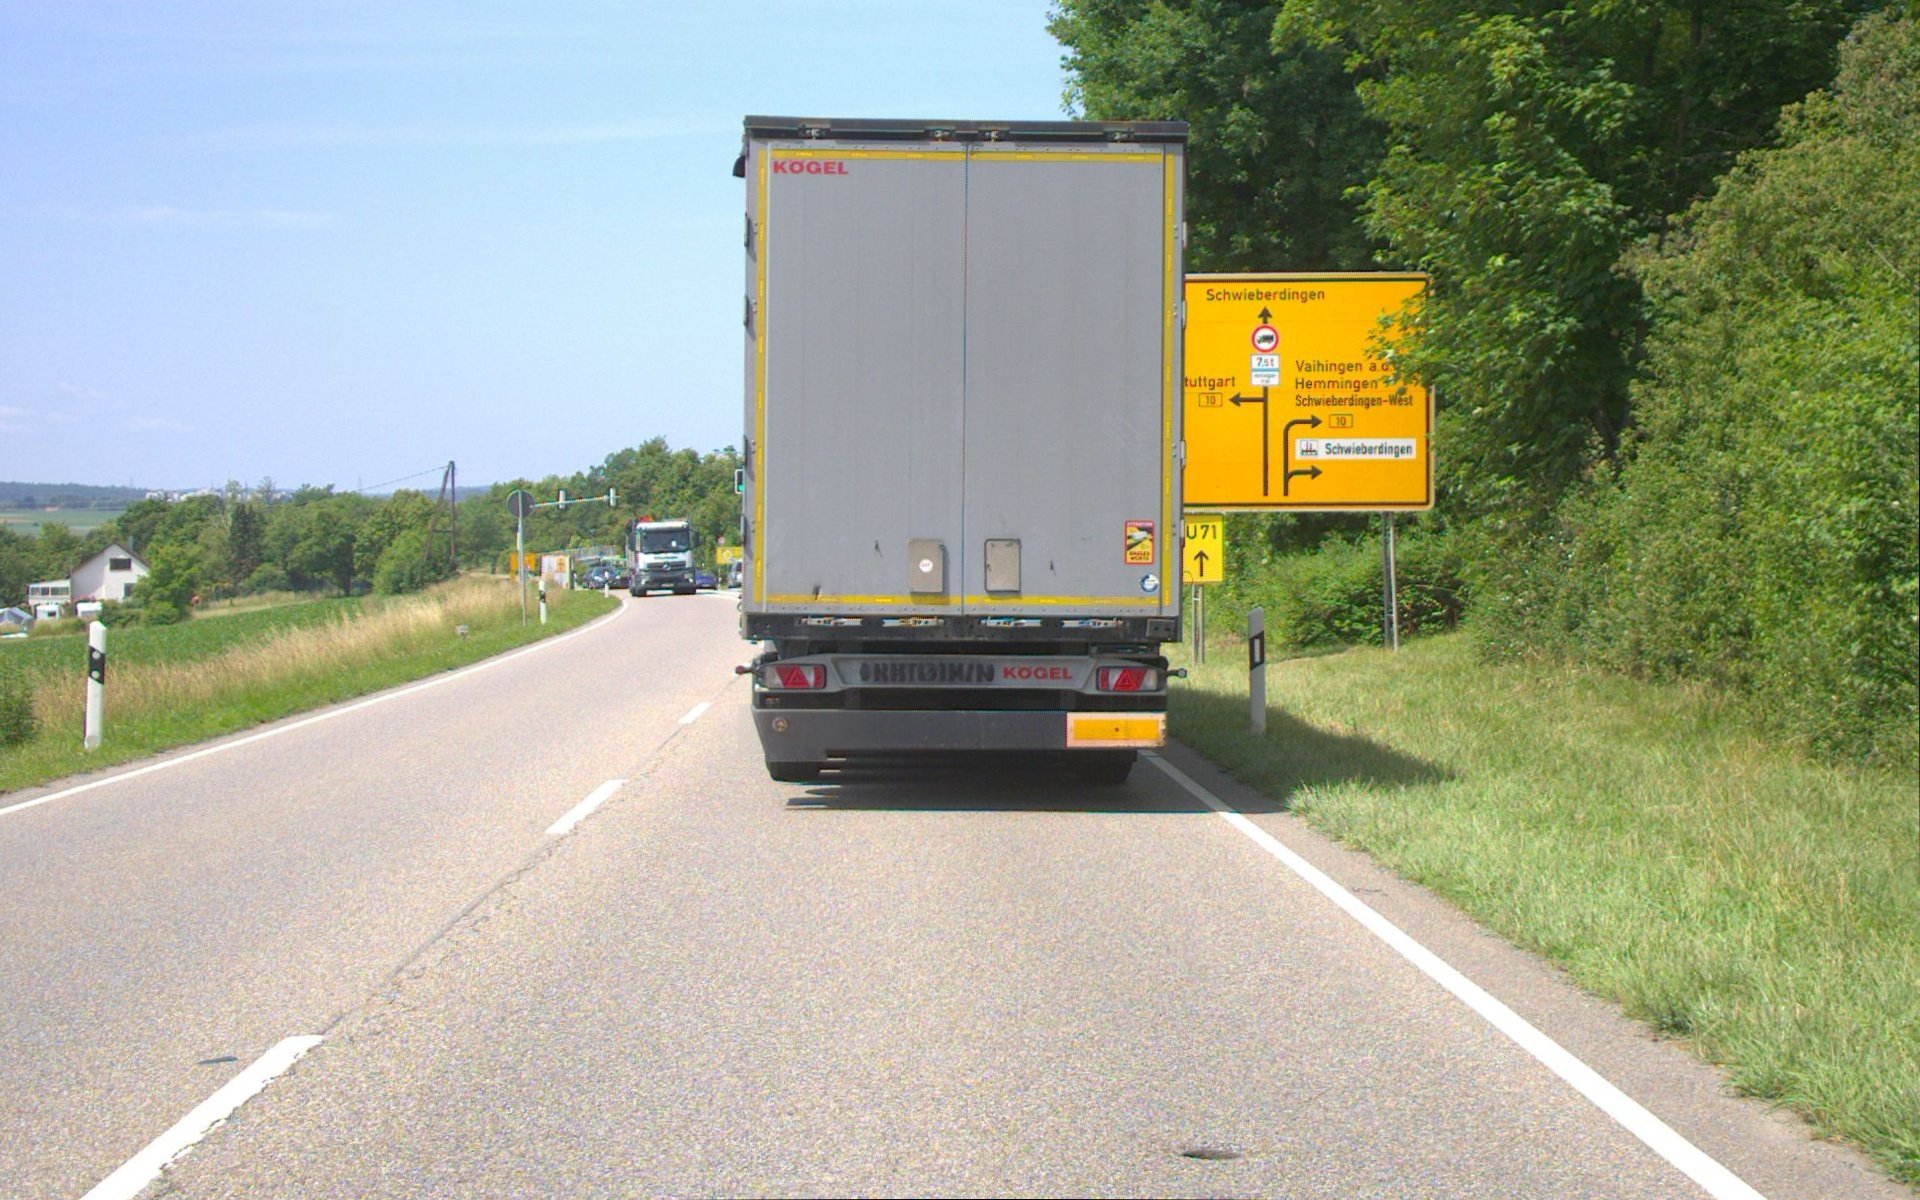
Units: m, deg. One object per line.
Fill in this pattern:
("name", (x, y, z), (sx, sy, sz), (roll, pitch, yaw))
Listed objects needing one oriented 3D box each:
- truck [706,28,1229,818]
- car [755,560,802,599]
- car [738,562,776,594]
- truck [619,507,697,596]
("truck", (-0.183, -1.049, 23.637), (2.907, 4.395, 8.861), (0, 1, -3))
("car", (-9.807, -1.115, 185.252), (2.171, 2.007, 4.527), (-3, 1, -6))
("car", (-11.828, -1.277, 199.869), (1.892, 1.771, 4.387), (-3, 1, -6))
("truck", (-13.164, -2.037, 149.035), (2.756, 3.564, 11.067), (-3, 0, -7))
